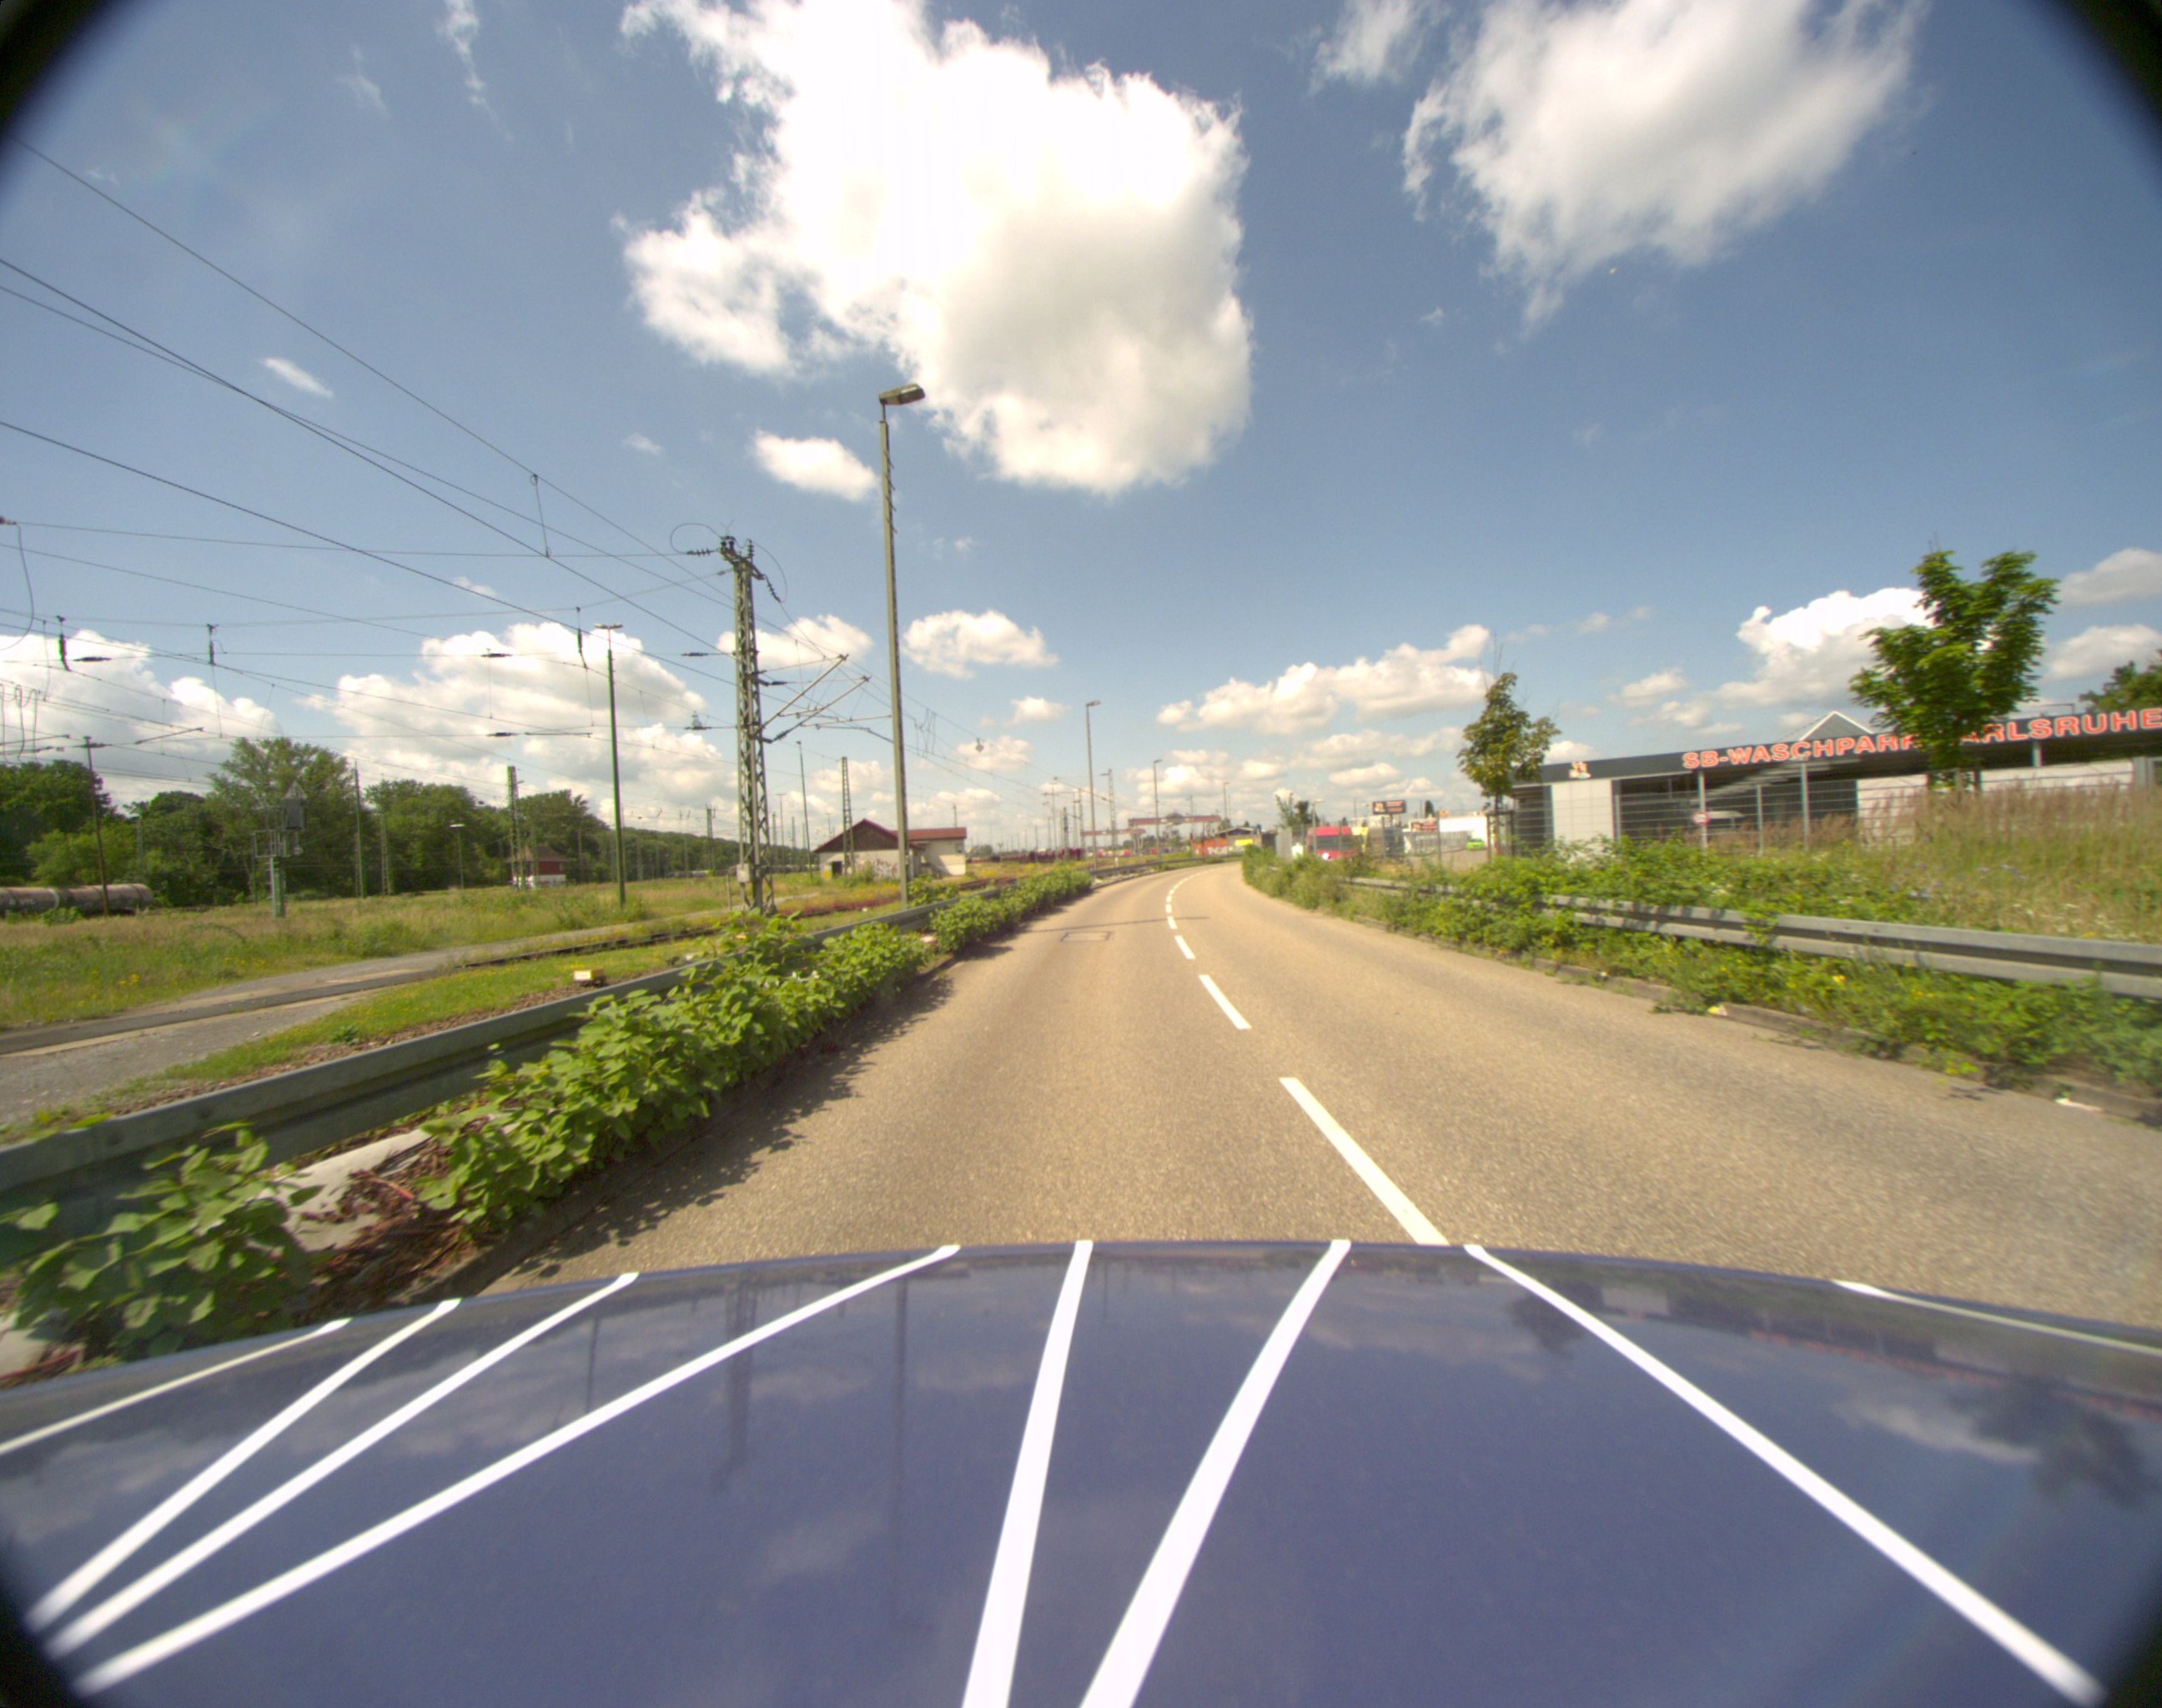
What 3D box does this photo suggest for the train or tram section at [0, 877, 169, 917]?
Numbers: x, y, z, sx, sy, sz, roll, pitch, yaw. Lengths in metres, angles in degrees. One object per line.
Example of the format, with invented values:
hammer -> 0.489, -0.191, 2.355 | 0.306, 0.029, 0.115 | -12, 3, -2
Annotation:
train or tram section -> -105.229, 4.361, 79.304 | 3.034, 3.286, 15.745 | -3, 1, -9

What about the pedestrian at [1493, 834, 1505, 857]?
pedestrian -> 32.028, -0.653, 58.234 | 0.693, 1.739, 0.746 | -2, 1, 34

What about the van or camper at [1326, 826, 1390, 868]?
van or camper -> 17.180, -0.478, 46.980 | 2.243, 2.411, 5.670 | -2, 1, 35

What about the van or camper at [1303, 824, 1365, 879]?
van or camper -> 12.286, -0.122, 37.297 | 2.191, 2.499, 5.706 | 0, 1, 11

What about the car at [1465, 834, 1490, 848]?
car -> 46.672, -1.541, 89.395 | 1.917, 1.473, 4.307 | -3, 0, 35
